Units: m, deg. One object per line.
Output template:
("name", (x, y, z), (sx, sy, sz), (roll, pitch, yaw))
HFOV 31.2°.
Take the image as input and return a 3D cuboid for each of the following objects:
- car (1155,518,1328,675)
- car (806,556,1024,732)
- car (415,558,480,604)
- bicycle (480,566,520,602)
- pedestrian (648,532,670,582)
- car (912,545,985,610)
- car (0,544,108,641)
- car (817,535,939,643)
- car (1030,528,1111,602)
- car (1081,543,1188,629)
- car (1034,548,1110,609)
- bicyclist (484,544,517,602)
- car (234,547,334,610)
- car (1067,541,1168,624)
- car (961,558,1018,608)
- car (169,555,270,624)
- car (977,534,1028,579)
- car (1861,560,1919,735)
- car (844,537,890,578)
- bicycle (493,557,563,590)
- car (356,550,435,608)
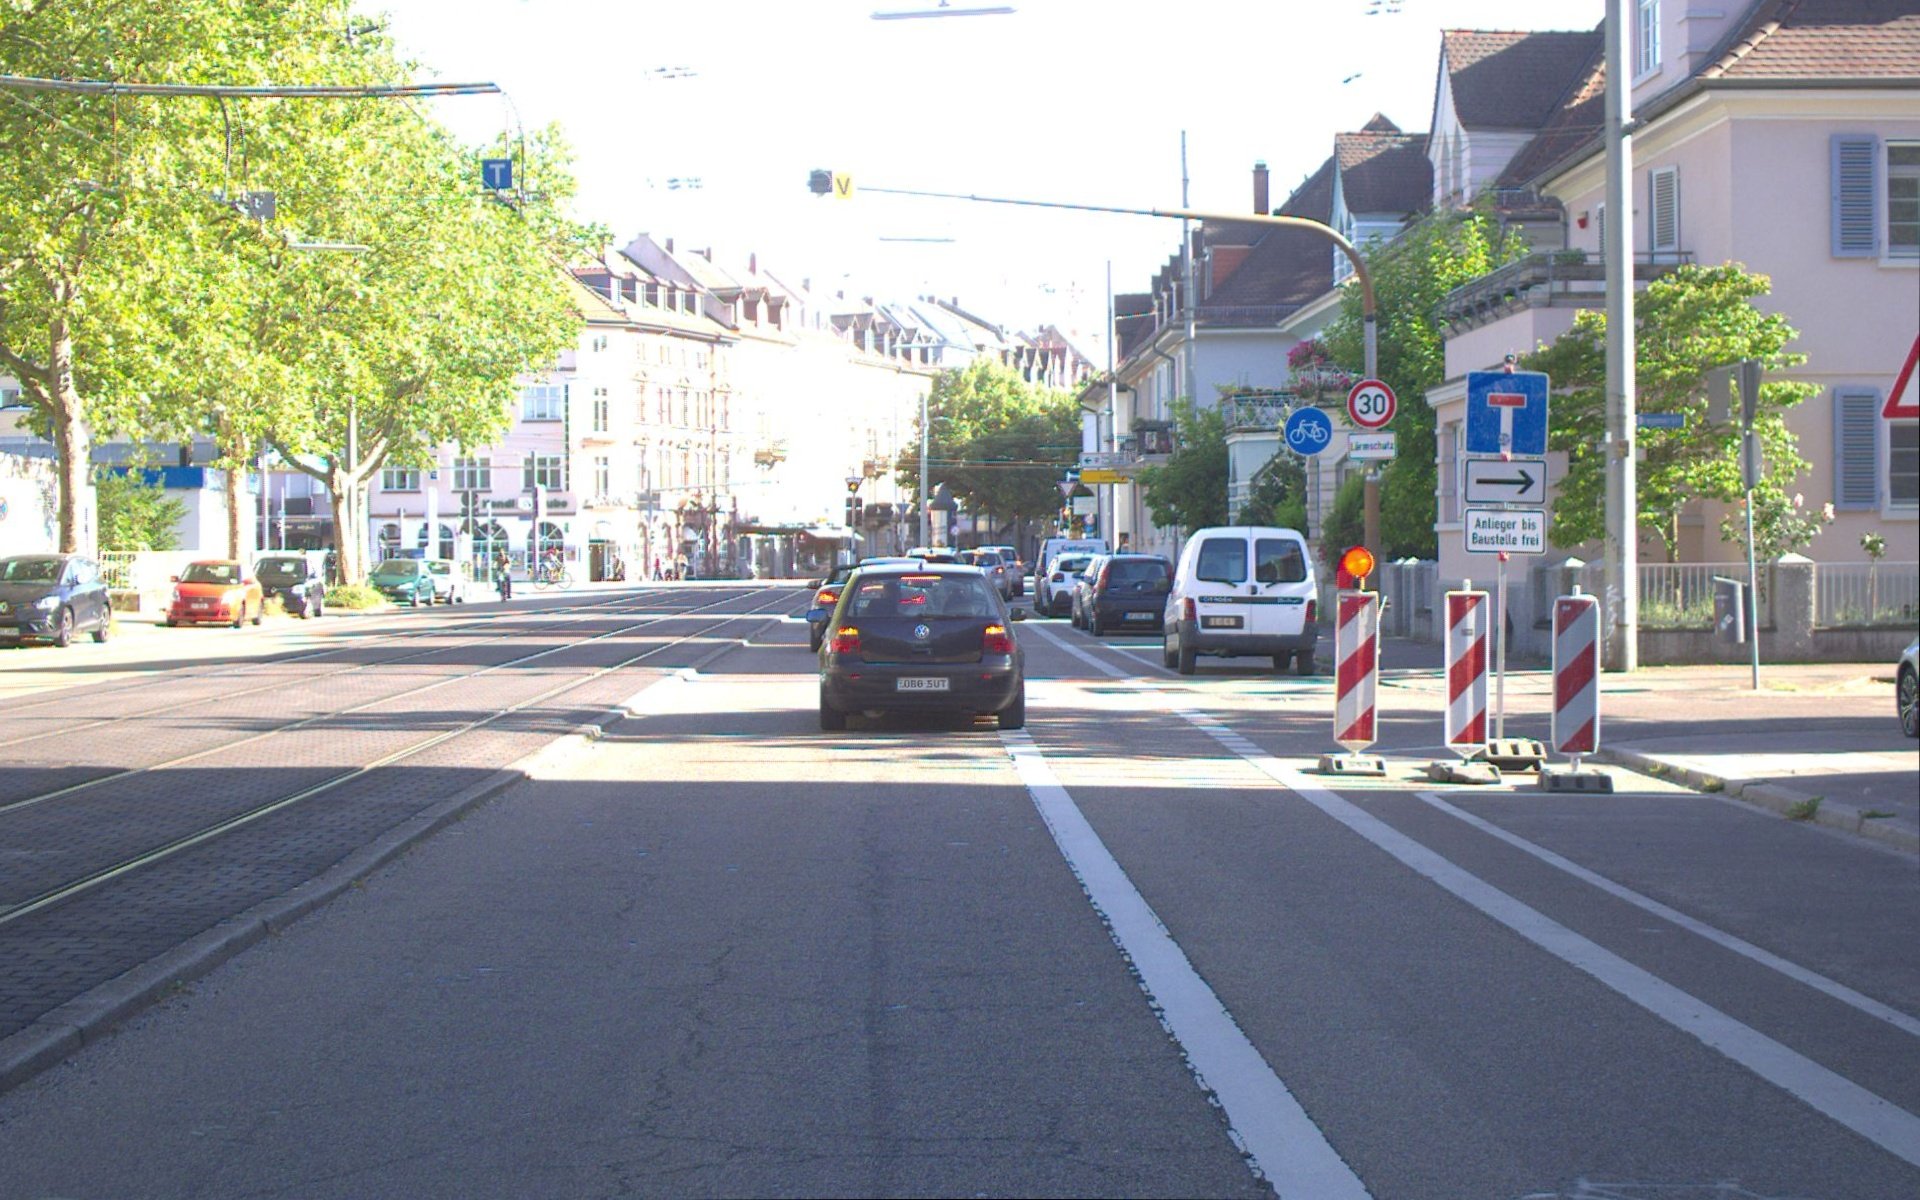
("car", (3.466, -0.086, 42.880), (1.759, 1.831, 3.548), (2, 1, -1))
("car", (-0.445, 0.327, 29.730), (1.748, 1.370, 4.001), (0, 1, -2))
("car", (-16.842, -0.630, 113.014), (1.636, 1.467, 3.730), (0, 1, -1))
("bicycle", (-14.900, -0.514, 111.470), (0.914, 1.079, 3.203), (2, 1, -1))
("pedestrian", (-16.274, -2.320, 186.032), (0.956, 2.650, 1.099), (2, 1, 5))
("car", (-0.279, -0.542, 79.859), (1.636, 1.467, 3.730), (0, 1, -1))
("car", (-16.575, -0.167, 61.182), (1.887, 1.660, 4.000), (0, 1, -1))
("car", (-1.199, -0.192, 51.675), (1.748, 1.532, 3.892), (0, 1, 0))
("car", (2.713, -0.888, 85.248), (1.817, 1.793, 4.000), (0, 1, -1))
("car", (3.150, -0.283, 62.639), (1.661, 1.520, 4.036), (0, 1, -1))
("car", (2.590, -0.523, 80.317), (1.580, 1.370, 4.000), (0, 1, -1))
("bicyclist", (-14.899, -0.884, 111.541), (0.914, 1.827, 0.960), (2, 1, -1))
("car", (-17.073, -0.562, 86.980), (1.792, 1.460, 3.836), (3, 1, -1))
("car", (3.040, -0.360, 67.087), (1.748, 1.532, 3.956), (0, 1, 0))
("car", (0.877, -0.533, 104.766), (1.636, 1.467, 3.730), (0, 1, -1))
("car", (-16.731, -0.236, 77.773), (1.570, 1.528, 3.572), (0, 0, -1))
("car", (1.420, -1.476, 116.033), (1.636, 1.467, 3.730), (0, 1, -1))
("car", (8.497, 0.341, 26.508), (1.702, 1.384, 4.516), (-1, -1, -3))
("car", (-3.366, -1.564, 125.163), (1.636, 1.467, 3.730), (-1, 1, -1))
("bicycle", (-17.489, -1.083, 139.206), (2.742, 1.258, 0.706), (2, 1, -1))
("car", (-17.494, -0.666, 106.666), (1.883, 1.663, 3.805), (2, 1, -2))
